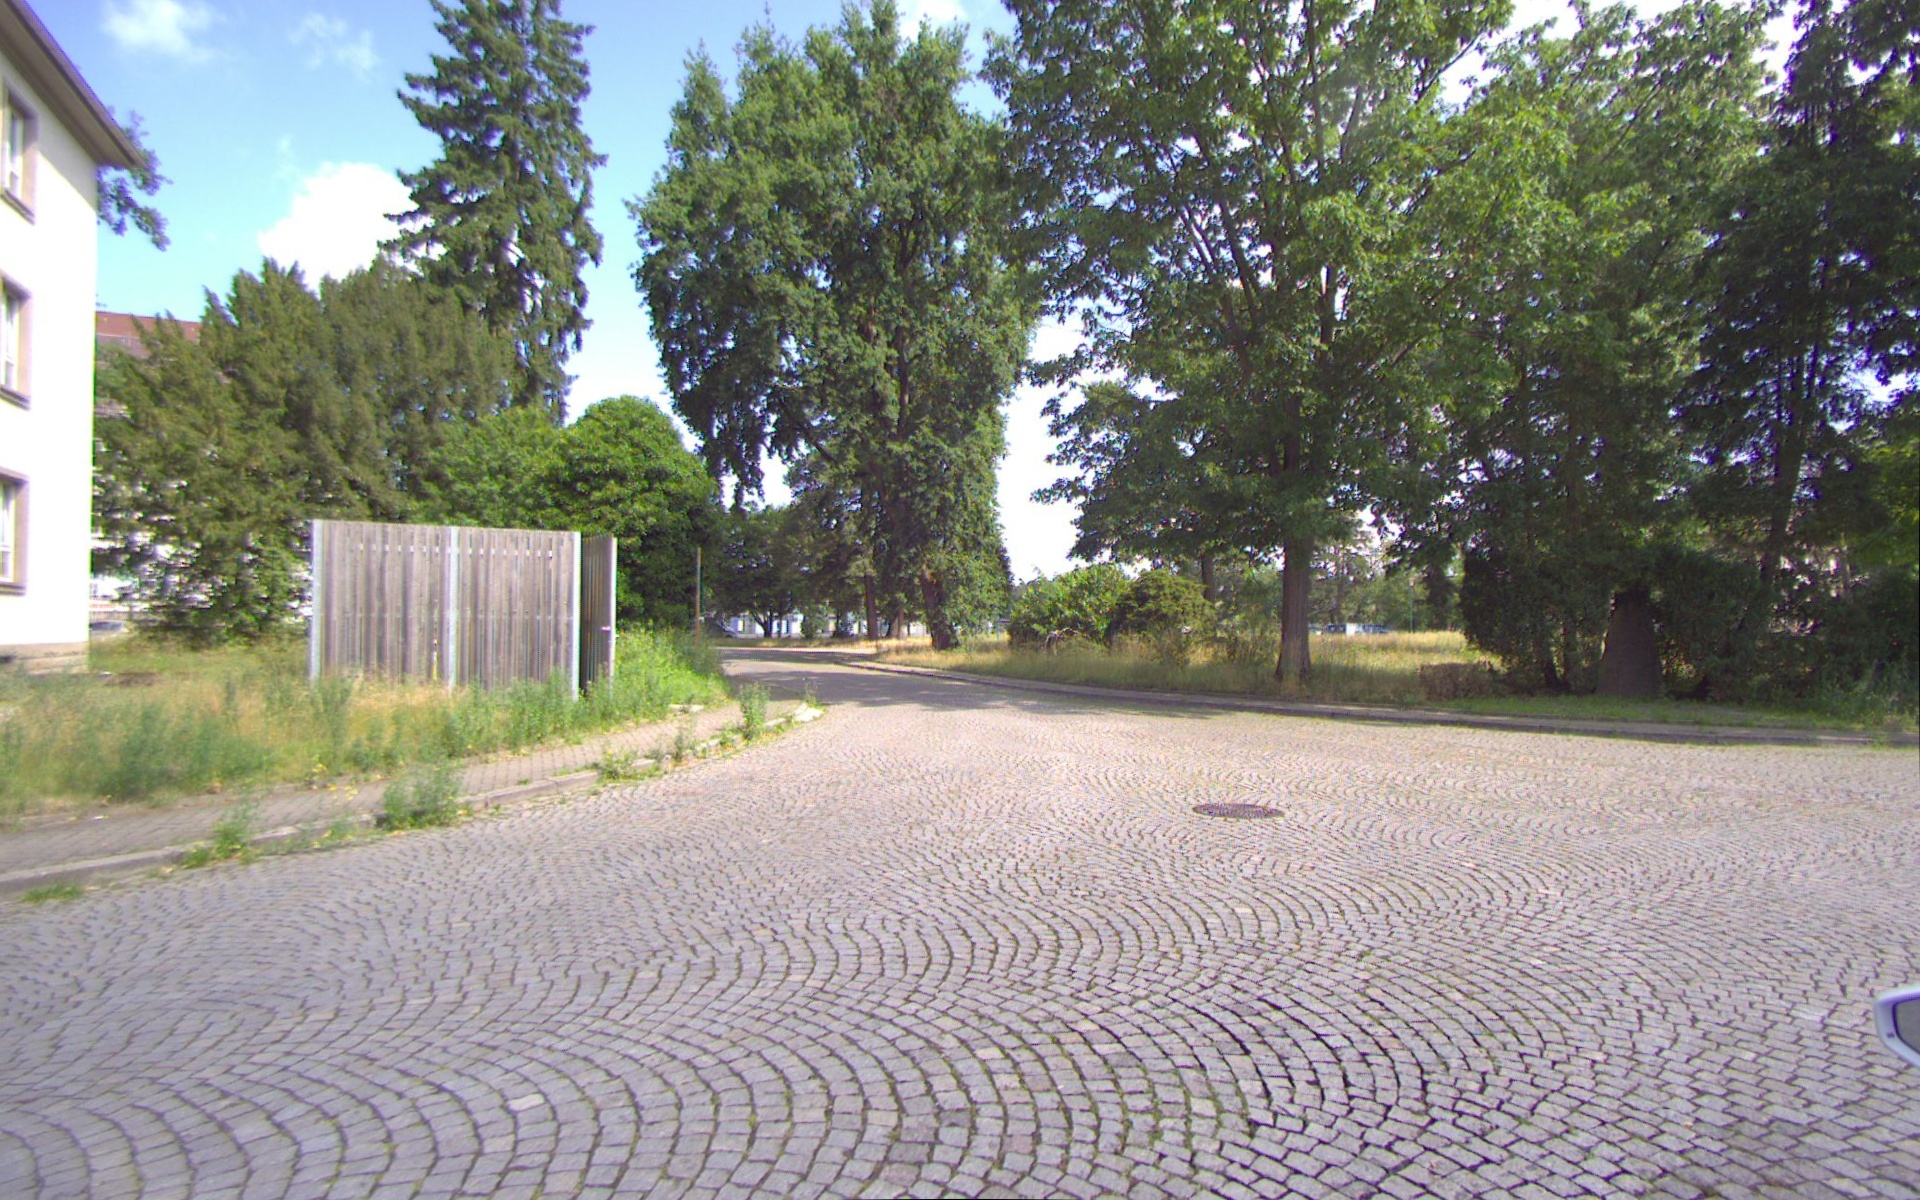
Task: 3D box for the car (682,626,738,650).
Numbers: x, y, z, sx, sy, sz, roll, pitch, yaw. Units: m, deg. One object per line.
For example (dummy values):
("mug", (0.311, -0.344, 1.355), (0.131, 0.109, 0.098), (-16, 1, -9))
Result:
("car", (-21.992, 3.332, 88.393), (4.575, 2.018, 1.990), (1, 0, -21))
